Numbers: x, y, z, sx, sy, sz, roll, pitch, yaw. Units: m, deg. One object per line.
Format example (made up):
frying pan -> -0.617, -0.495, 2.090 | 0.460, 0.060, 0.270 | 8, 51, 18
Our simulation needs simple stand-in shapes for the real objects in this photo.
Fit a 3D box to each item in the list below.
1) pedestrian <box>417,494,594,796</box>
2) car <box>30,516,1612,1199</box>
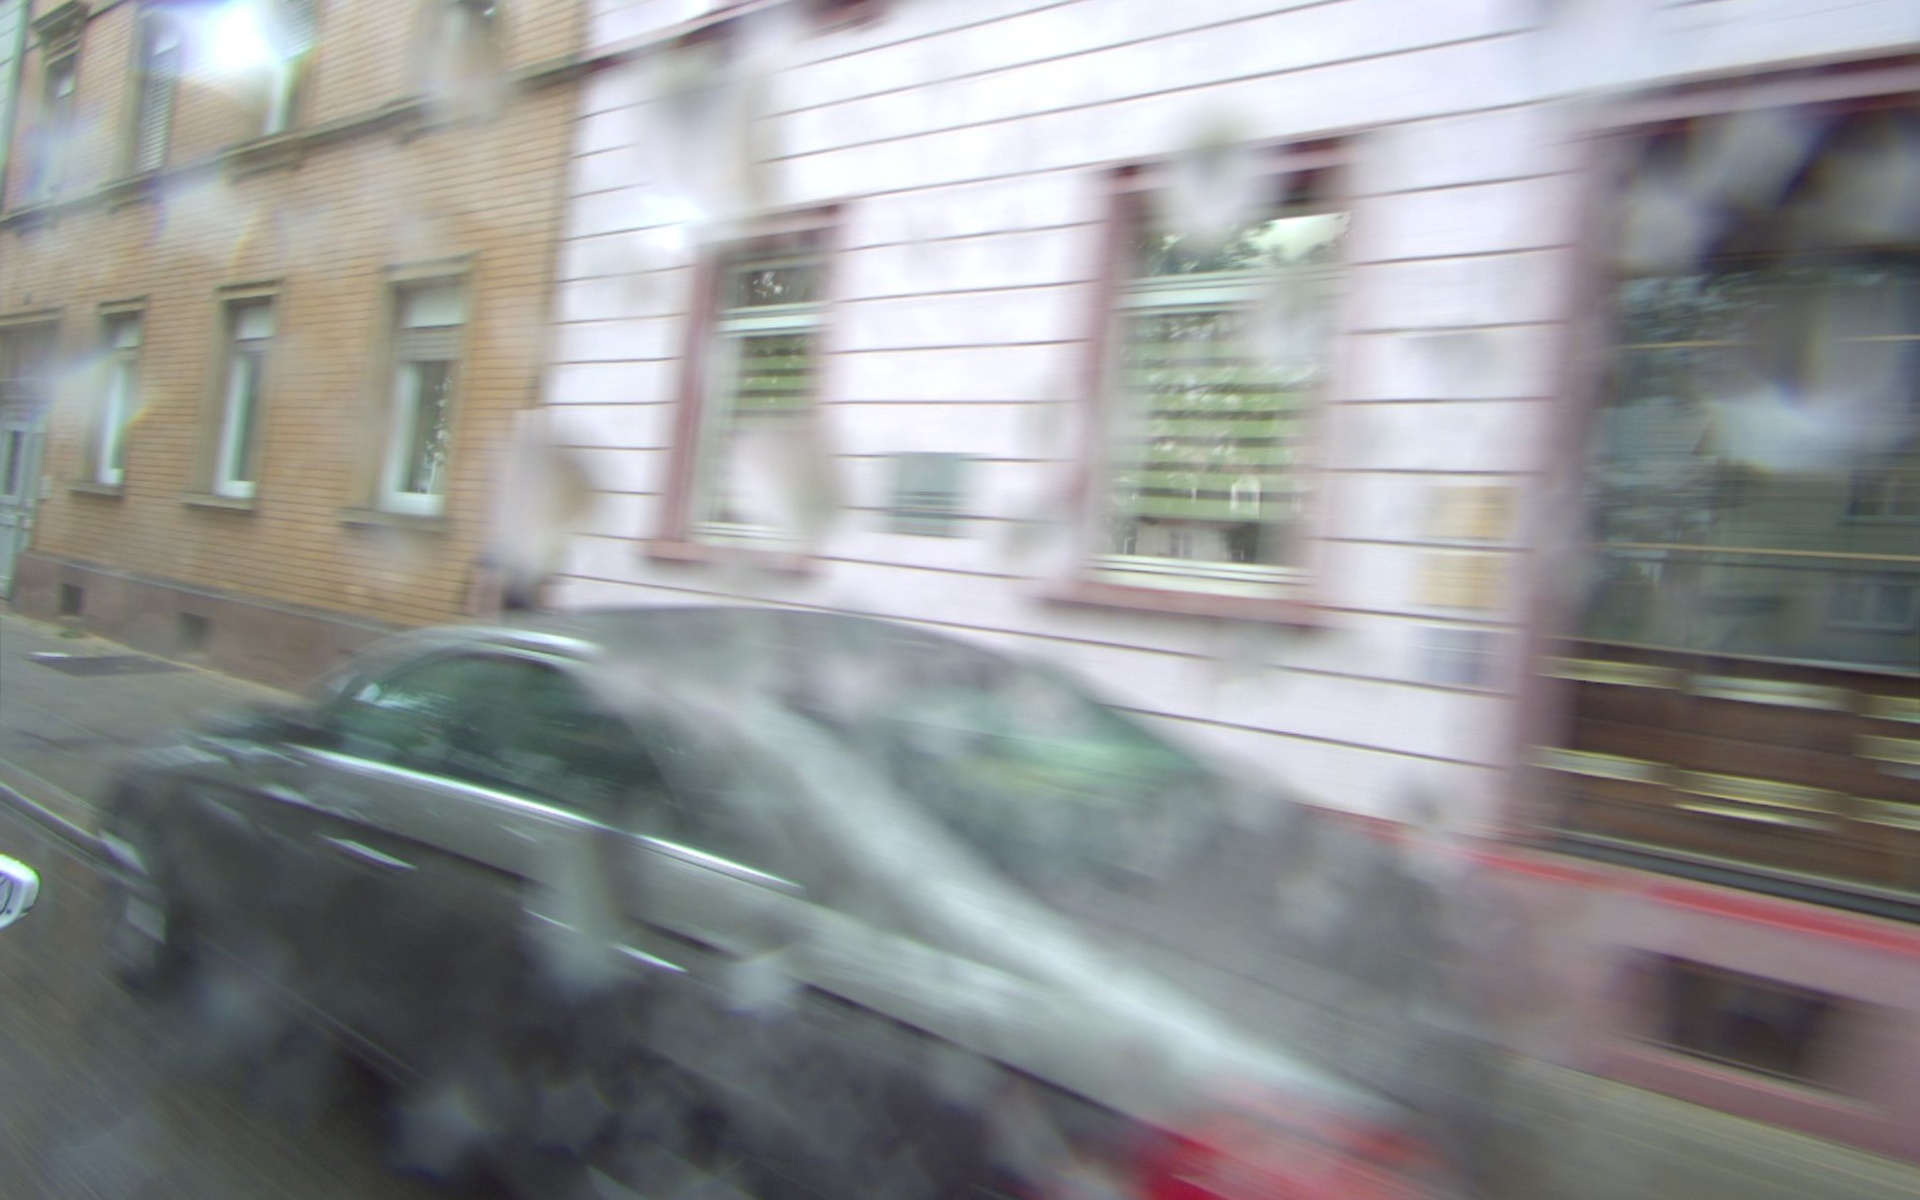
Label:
pedestrian -> -2.776, 0.259, 6.157 | 0.593, 1.706, 0.639 | 7, 2, 30
car -> -0.876, 0.667, 3.028 | 4.622, 1.439, 1.813 | 6, 1, 34
